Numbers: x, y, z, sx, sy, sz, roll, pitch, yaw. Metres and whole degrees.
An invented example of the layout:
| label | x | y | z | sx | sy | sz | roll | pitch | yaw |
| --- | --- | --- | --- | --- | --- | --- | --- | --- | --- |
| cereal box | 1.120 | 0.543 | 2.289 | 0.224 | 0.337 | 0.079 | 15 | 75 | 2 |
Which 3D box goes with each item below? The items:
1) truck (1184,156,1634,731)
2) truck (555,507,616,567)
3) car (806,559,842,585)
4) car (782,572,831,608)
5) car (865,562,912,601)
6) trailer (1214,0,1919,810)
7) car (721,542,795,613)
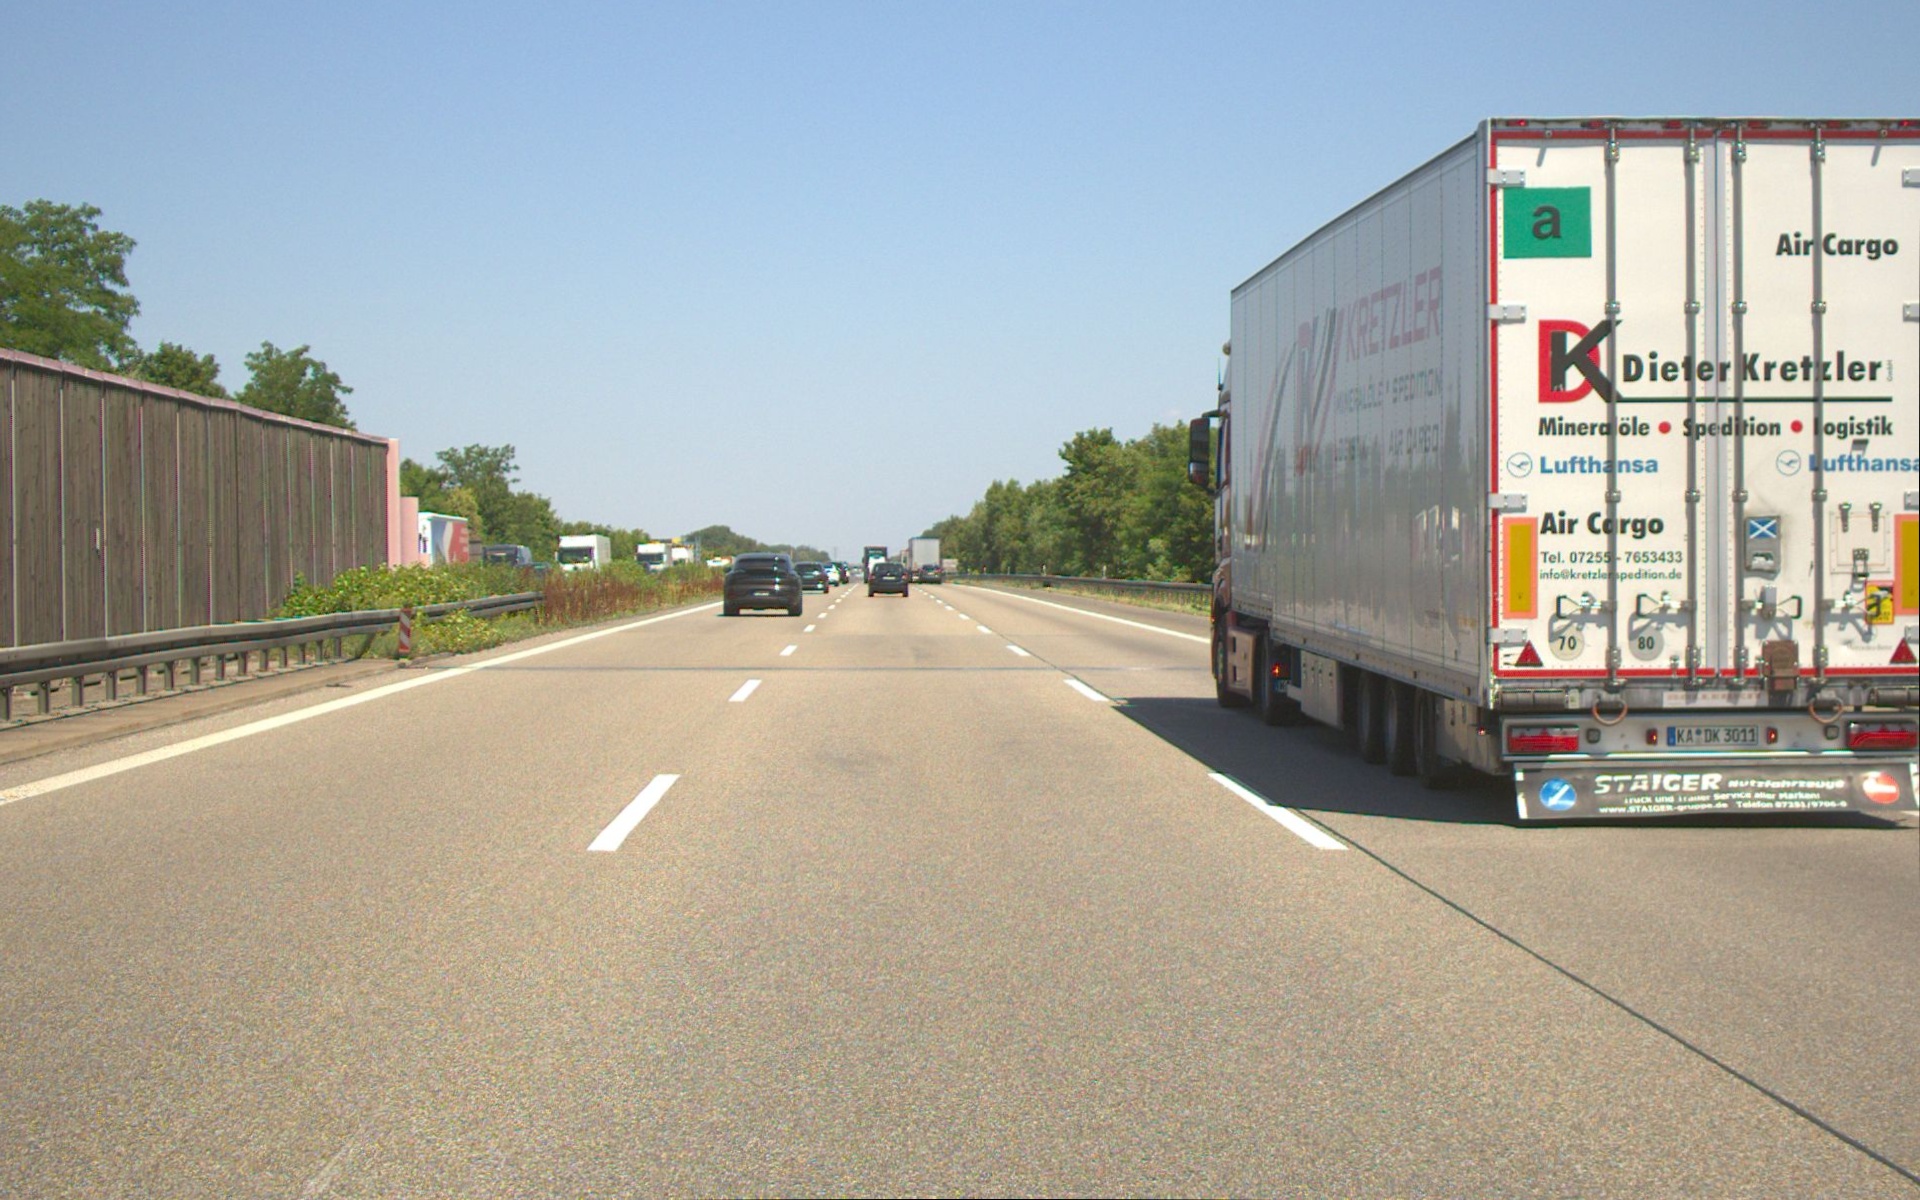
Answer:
| label | x | y | z | sx | sy | sz | roll | pitch | yaw |
| --- | --- | --- | --- | --- | --- | --- | --- | --- | --- |
| truck | 4.052 | -1.407 | 32.785 | 3.234 | 4.872 | 6.972 | 0 | 1 | -1 |
| truck | -26.585 | -4.441 | 244.322 | 3.581 | 4.089 | 7.839 | -1 | 1 | -1 |
| car | -8.704 | -1.785 | 220.328 | 2.128 | 1.640 | 4.304 | -1 | 0 | -1 |
| car | -7.156 | -0.472 | 160.183 | 2.128 | 1.640 | 4.304 | -1 | 0 | -1 |
| car | -2.961 | -0.764 | 143.592 | 1.903 | 1.578 | 4.304 | -1 | 0 | -1 |
| trailer | 4.185 | -1.412 | 25.880 | 3.269 | 4.821 | 14.030 | 0 | 1 | -1 |
| car | -5.274 | -0.616 | 90.304 | 1.880 | 1.786 | 4.001 | 0 | 1 | -3 |
